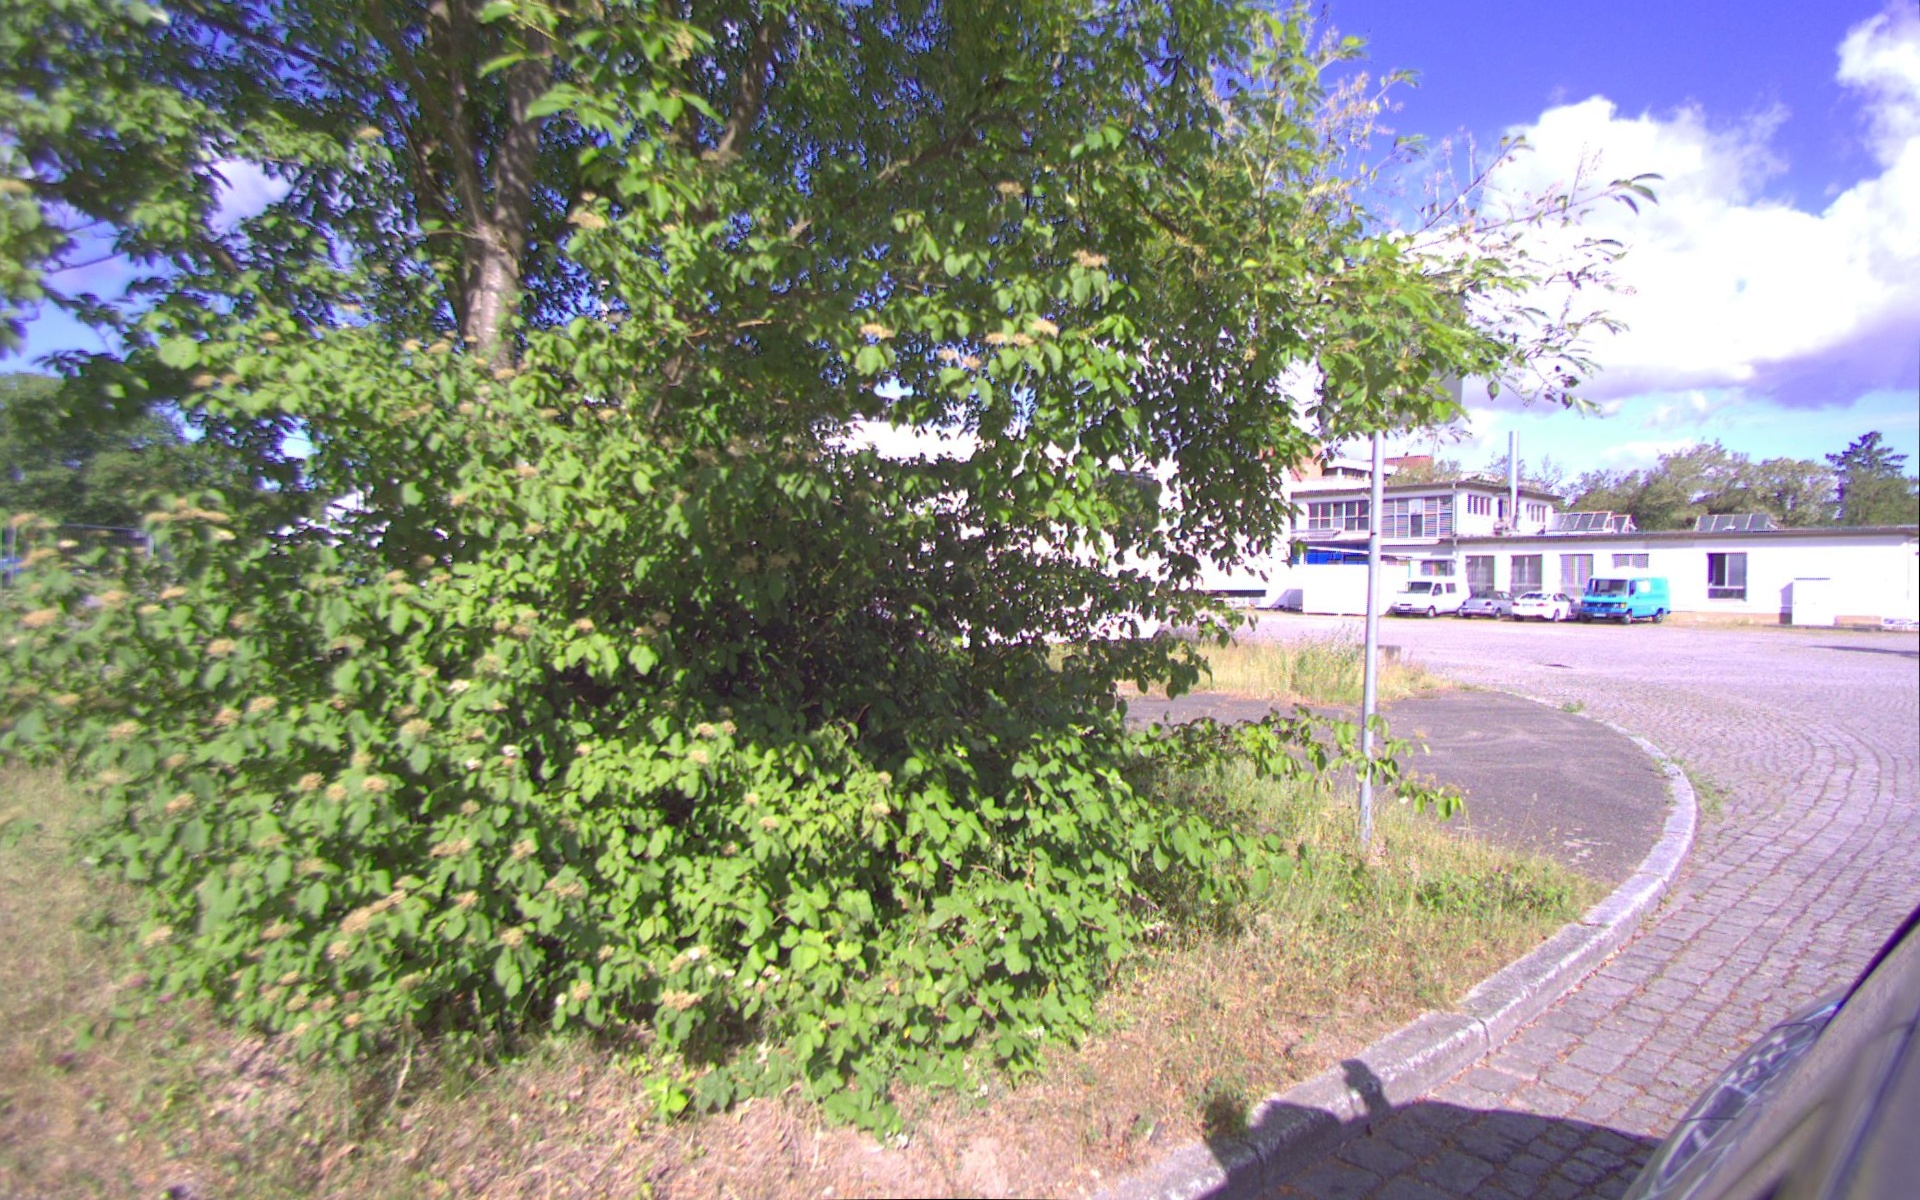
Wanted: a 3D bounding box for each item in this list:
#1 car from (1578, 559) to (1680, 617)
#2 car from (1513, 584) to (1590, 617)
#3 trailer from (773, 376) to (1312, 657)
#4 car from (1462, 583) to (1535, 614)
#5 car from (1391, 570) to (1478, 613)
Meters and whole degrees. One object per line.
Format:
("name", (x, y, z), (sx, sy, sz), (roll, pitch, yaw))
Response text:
("car", (30.176, -0.544, 45.601), (5.140, 2.514, 2.089), (0, 1, -35))
("car", (27.539, 0.004, 47.095), (3.669, 1.423, 1.737), (-2, 1, -36))
("trailer", (2.057, -1.226, 18.597), (10.682, 3.960, 2.781), (0, 1, -36))
("car", (26.566, -0.087, 49.907), (3.759, 1.416, 1.692), (0, 2, -36))
("car", (24.334, -0.493, 51.874), (4.714, 2.107, 2.010), (-1, 1, -35))
